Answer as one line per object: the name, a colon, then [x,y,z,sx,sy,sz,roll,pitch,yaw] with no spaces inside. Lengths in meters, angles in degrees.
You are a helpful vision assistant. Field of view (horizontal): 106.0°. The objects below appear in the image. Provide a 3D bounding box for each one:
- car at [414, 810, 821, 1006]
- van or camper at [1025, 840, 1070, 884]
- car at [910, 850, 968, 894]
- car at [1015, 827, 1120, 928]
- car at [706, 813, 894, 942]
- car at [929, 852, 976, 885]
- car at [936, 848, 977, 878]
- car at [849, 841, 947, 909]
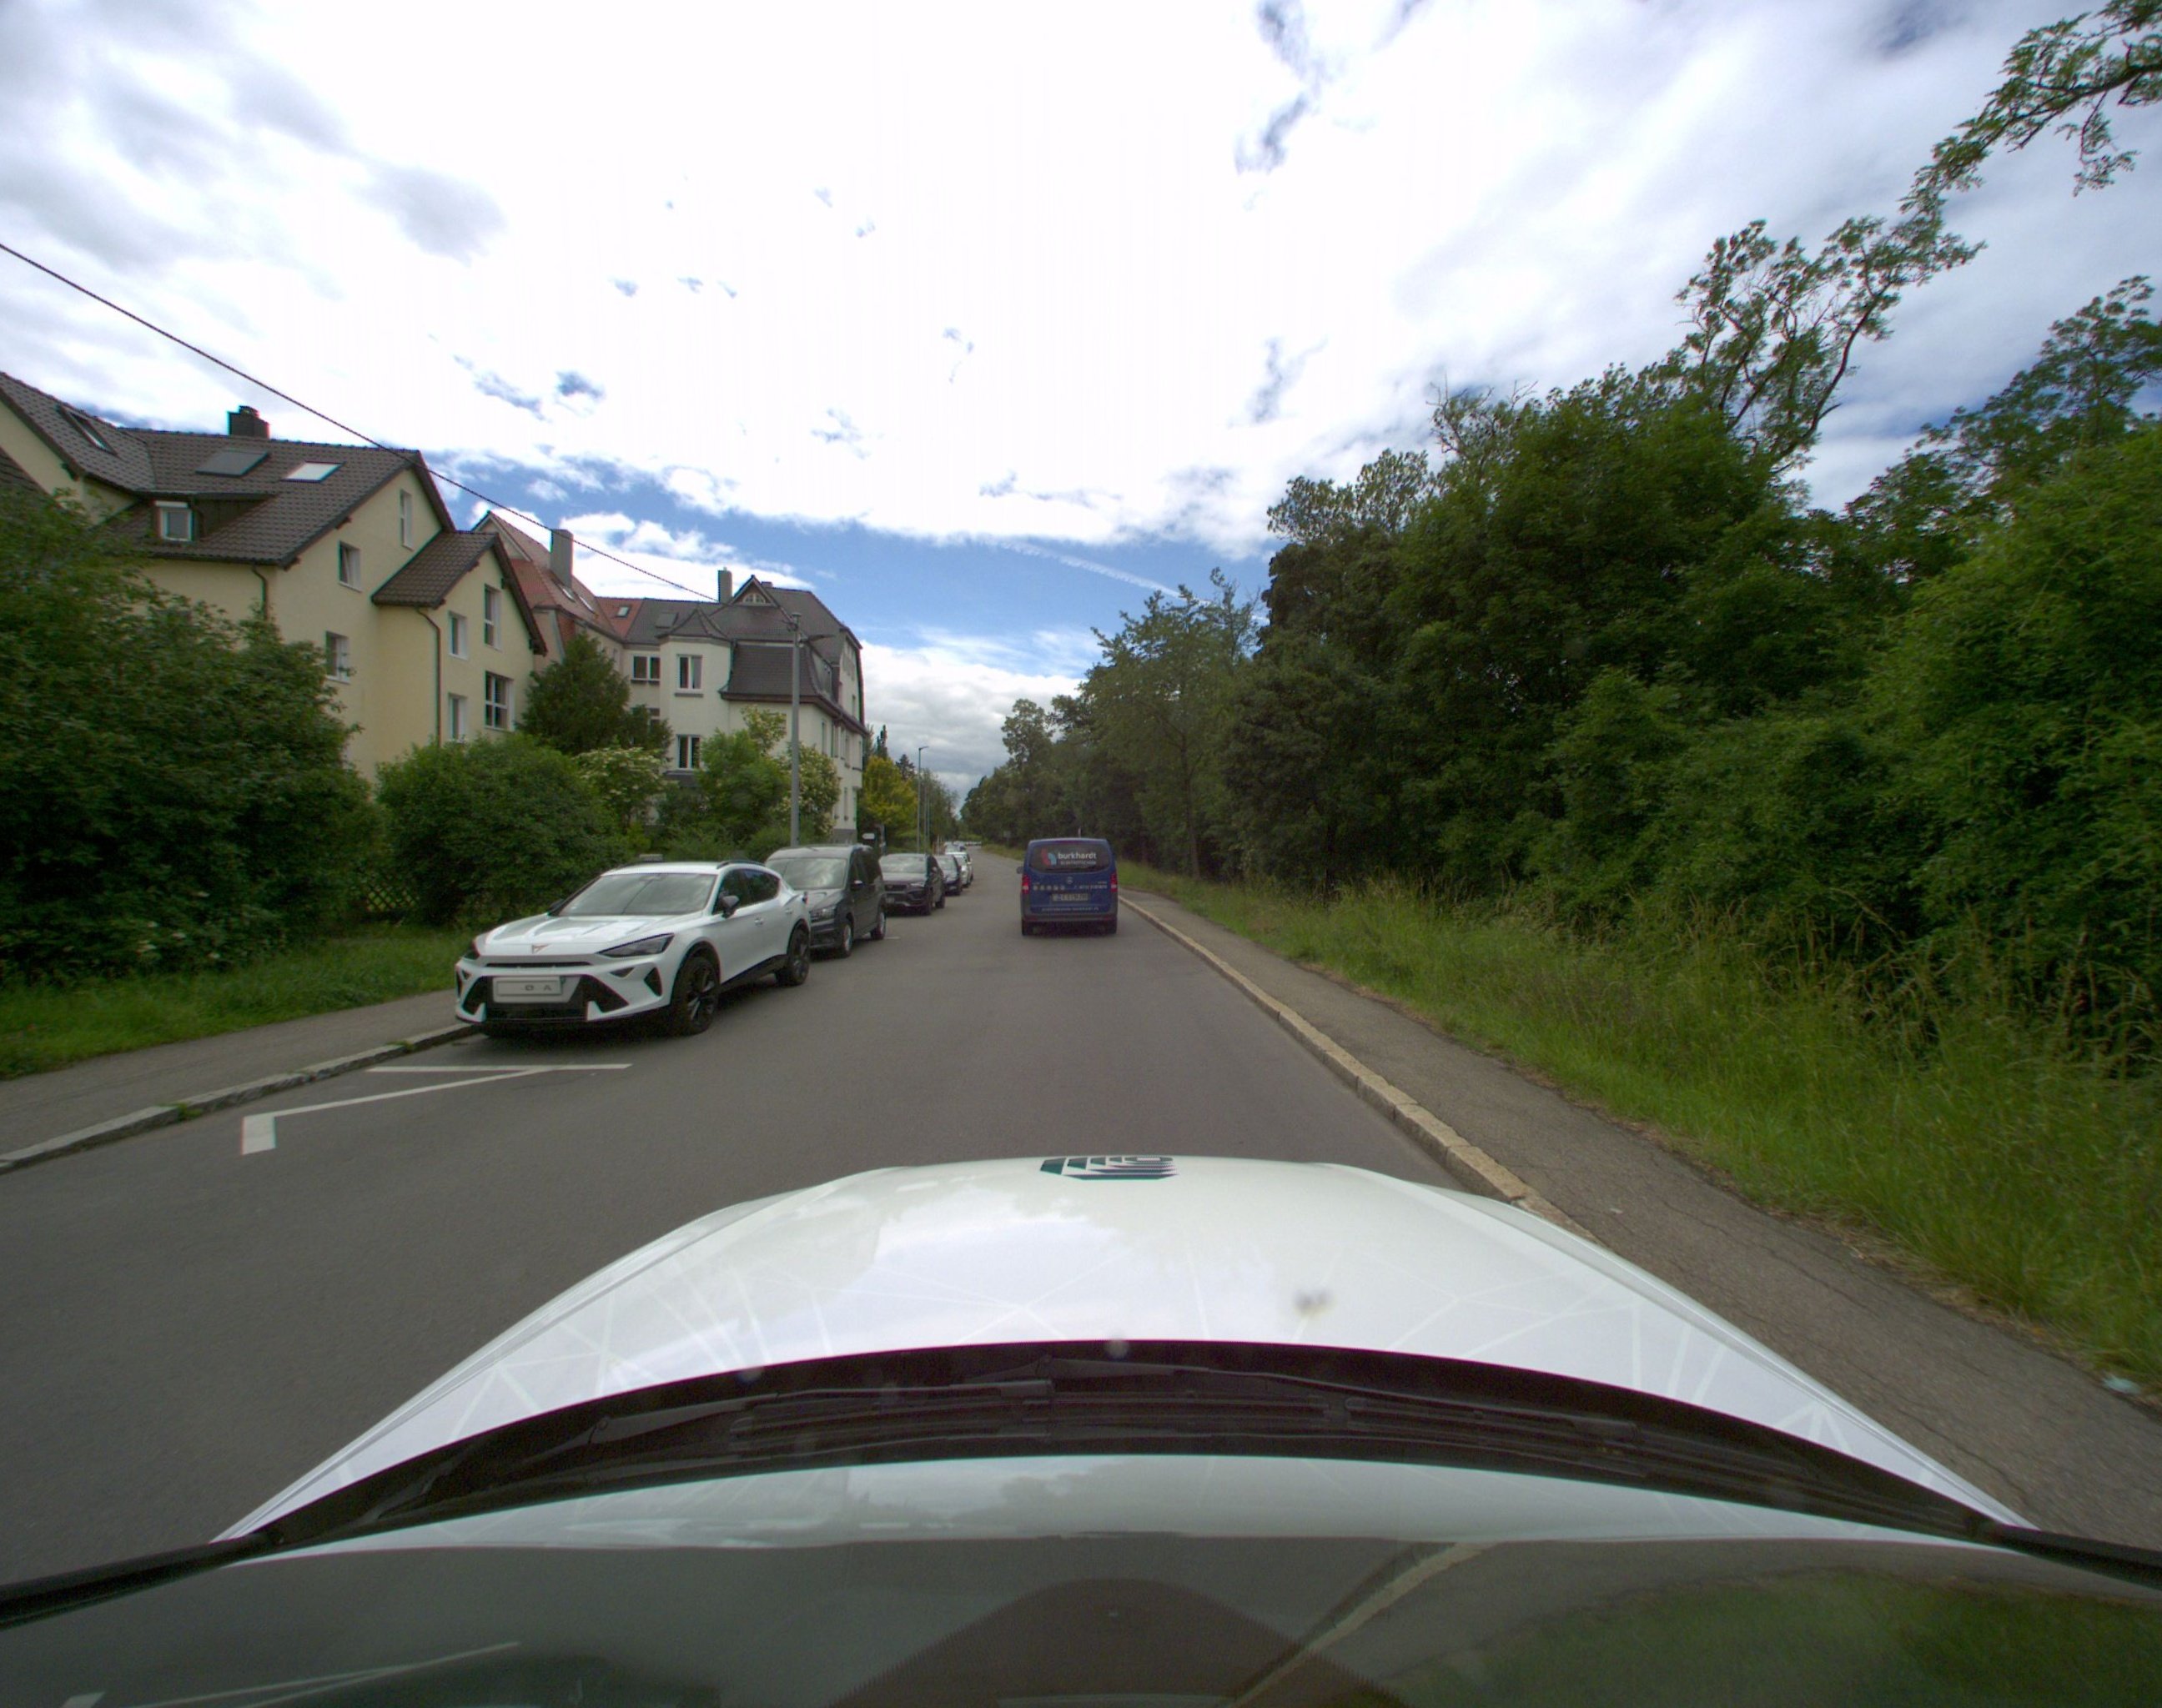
car: [-4.267,0.448,8.483,1.719,1.492,4.411,1,-1,-1]
van or camper: [-1.718,0.350,40.205,2.016,1.956,4.889,2,1,-4]
car: [-5.303,0.626,30.832,1.603,1.513,3.852,2,0,-3]
car: [-0.334,0.415,17.126,1.909,1.837,4.290,1,1,-3]
car: [-4.534,0.365,13.921,1.740,1.764,4.409,3,-1,-3]
car: [-5.714,0.628,36.469,1.604,1.342,3.852,2,0,-3]
car: [-6.466,0.439,42.617,1.603,1.408,3.852,2,0,-3]
car: [-4.881,0.546,22.270,1.811,1.616,4.219,2,-1,-3]
